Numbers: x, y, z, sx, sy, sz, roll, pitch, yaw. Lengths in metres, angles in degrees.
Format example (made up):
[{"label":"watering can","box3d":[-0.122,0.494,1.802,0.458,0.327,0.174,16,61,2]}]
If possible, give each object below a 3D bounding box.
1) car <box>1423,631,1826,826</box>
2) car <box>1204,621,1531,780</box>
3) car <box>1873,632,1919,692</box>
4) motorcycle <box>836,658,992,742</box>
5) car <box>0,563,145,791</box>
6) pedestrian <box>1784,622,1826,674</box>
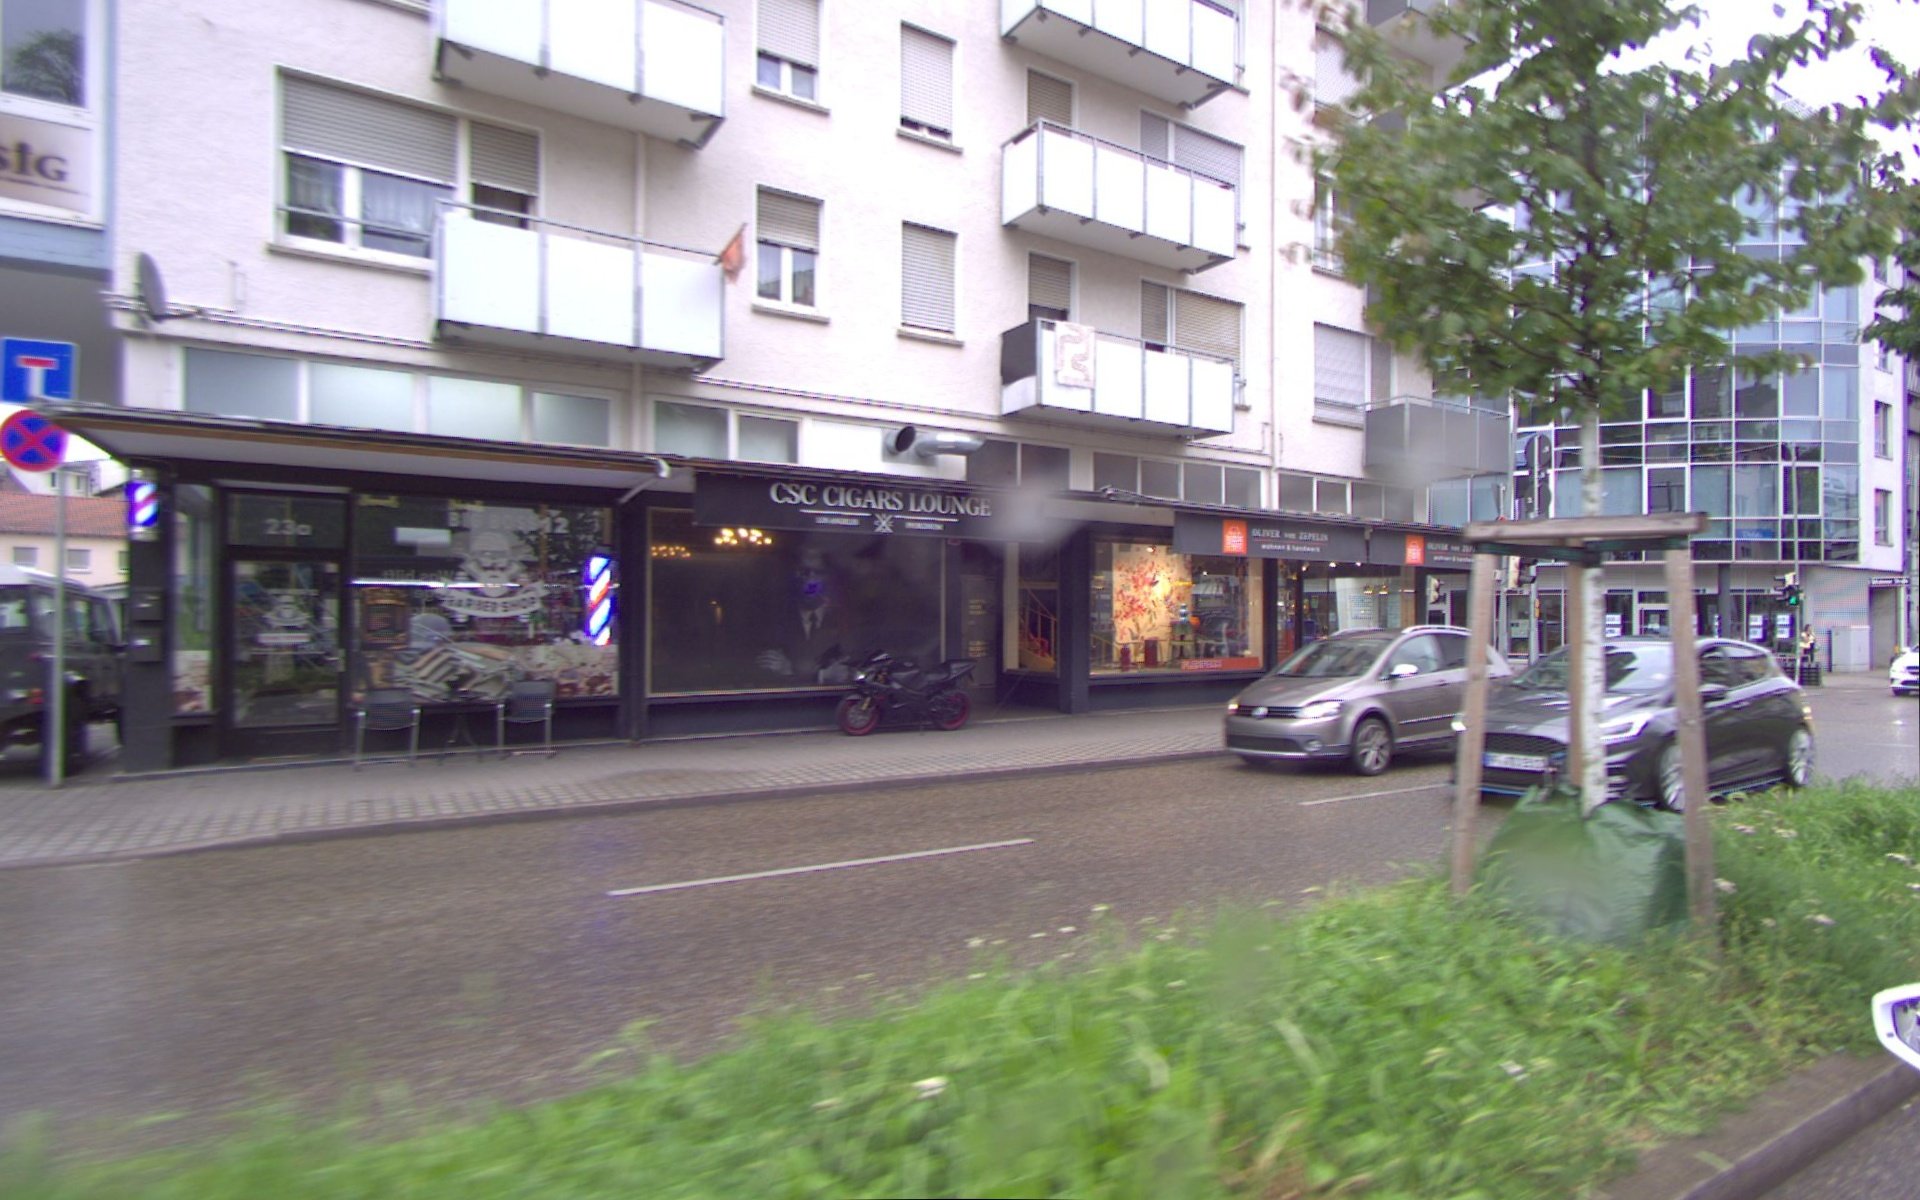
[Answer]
[{"label":"car","box3d":[6.091,1.022,9.105,3.893,1.431,1.525,1,-4,-32]},{"label":"car","box3d":[4.905,1.102,11.965,3.893,1.612,1.624,1,-4,-32]},{"label":"car","box3d":[22.114,1.363,22.551,3.311,1.307,1.542,1,-3,-32]},{"label":"motorcycle","box3d":[-0.602,1.323,13.609,2.111,1.008,0.523,1,1,-31]},{"label":"car","box3d":[-10.099,0.731,10.568,1.560,2.061,3.948,1,-2,-27]},{"label":"pedestrian","box3d":[26.710,1.512,31.746,0.768,1.612,0.763,-1,-2,22]}]
